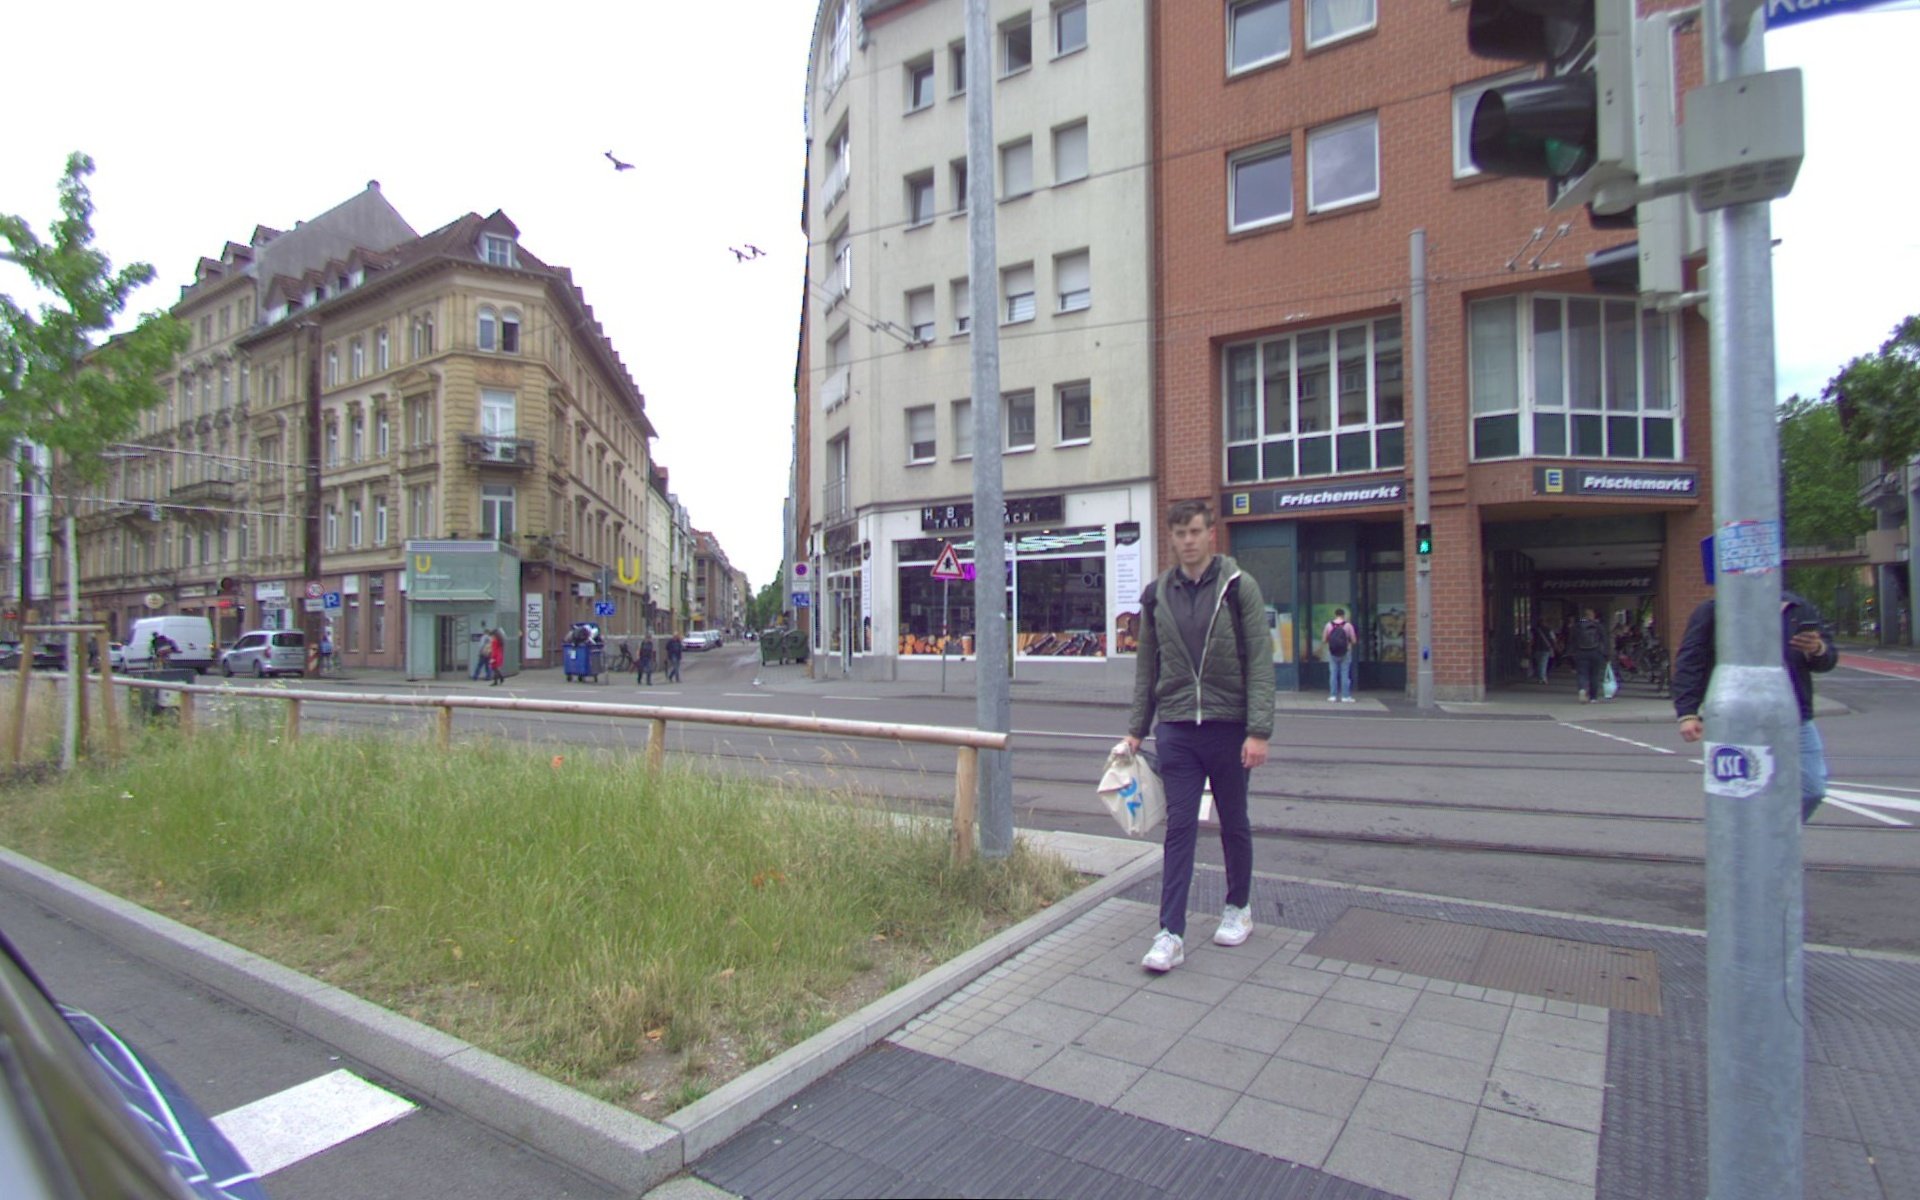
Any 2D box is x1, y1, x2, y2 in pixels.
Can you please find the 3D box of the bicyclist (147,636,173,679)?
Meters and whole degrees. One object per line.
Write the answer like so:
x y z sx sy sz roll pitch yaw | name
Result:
-29.579 2.123 37.413 0.809 1.552 0.487 -2 -3 33 | bicyclist

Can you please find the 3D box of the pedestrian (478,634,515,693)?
-13.685 1.864 29.880 0.658 1.700 0.717 0 -2 24 | pedestrian

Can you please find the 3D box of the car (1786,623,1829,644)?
67.766 2.674 80.986 1.920 1.575 3.831 -2 -2 29 | car

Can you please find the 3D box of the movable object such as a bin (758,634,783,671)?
-8.030 2.203 42.924 0.931 1.512 1.242 -1 -1 -14 | movable object such as a bin

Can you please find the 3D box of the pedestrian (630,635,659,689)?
-10.197 1.989 32.711 0.651 1.700 0.724 2 -2 -40 | pedestrian

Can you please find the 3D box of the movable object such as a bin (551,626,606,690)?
-12.403 1.847 32.887 1.616 1.996 1.020 -1 -2 41 | movable object such as a bin

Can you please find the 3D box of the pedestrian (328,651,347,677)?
-25.582 2.631 41.595 0.453 1.038 0.547 -2 -2 43 | pedestrian

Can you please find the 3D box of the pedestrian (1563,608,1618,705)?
11.312 0.992 18.180 0.796 1.696 0.738 -1 0 30 | pedestrian

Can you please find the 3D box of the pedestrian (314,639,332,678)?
-25.766 2.359 40.947 0.546 1.568 0.659 0 -2 -38 | pedestrian

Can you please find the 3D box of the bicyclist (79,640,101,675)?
-35.512 2.341 41.311 0.809 1.417 0.475 -2 -3 33 | bicyclist

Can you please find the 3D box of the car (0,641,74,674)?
-49.659 3.097 54.249 5.037 1.702 1.903 -2 -5 33 | car

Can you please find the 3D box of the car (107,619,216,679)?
-35.261 2.178 44.649 5.650 2.506 2.036 -2 -5 34 | car

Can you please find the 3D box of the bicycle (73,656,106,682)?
-35.566 2.795 41.342 1.906 1.029 0.475 -2 -3 33 | bicycle

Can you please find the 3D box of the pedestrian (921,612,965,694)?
-0.357 1.114 21.430 0.718 1.700 0.657 0 -2 22 | pedestrian

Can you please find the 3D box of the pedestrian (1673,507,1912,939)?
4.018 0.550 4.955 0.796 1.904 0.605 -1 -2 32 | pedestrian

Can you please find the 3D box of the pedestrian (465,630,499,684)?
-15.247 1.810 32.294 0.812 1.700 0.724 2 -2 -38 | pedestrian

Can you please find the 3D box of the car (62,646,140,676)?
-41.747 2.966 49.169 4.153 1.434 1.756 -2 -5 33 | car

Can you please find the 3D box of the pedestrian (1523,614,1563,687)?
14.011 1.191 24.326 0.796 1.696 0.738 -1 0 30 | pedestrian

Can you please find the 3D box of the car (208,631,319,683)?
-26.595 2.166 38.631 4.507 1.879 1.887 -2 -4 33 | car

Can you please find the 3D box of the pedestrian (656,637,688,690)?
-9.495 2.066 33.355 0.651 1.700 0.925 2 -2 -40 | pedestrian

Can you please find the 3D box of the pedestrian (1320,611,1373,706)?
7.072 1.050 18.517 0.796 1.696 0.565 -1 0 30 | pedestrian

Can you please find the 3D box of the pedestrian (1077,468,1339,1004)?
1.046 0.484 4.189 0.796 1.904 0.889 -1 0 32 | pedestrian

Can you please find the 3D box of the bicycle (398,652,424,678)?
-21.284 2.515 39.229 1.687 0.966 0.336 -2 -2 42 | bicycle

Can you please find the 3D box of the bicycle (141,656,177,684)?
-29.620 2.575 37.423 1.907 1.029 0.472 -2 -3 34 | bicycle

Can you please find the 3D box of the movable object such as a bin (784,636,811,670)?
-6.940 2.248 43.101 0.994 1.416 1.242 -1 -1 -14 | movable object such as a bin

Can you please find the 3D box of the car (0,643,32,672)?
-56.616 3.388 59.449 5.014 1.703 1.799 -2 -4 32 | car
